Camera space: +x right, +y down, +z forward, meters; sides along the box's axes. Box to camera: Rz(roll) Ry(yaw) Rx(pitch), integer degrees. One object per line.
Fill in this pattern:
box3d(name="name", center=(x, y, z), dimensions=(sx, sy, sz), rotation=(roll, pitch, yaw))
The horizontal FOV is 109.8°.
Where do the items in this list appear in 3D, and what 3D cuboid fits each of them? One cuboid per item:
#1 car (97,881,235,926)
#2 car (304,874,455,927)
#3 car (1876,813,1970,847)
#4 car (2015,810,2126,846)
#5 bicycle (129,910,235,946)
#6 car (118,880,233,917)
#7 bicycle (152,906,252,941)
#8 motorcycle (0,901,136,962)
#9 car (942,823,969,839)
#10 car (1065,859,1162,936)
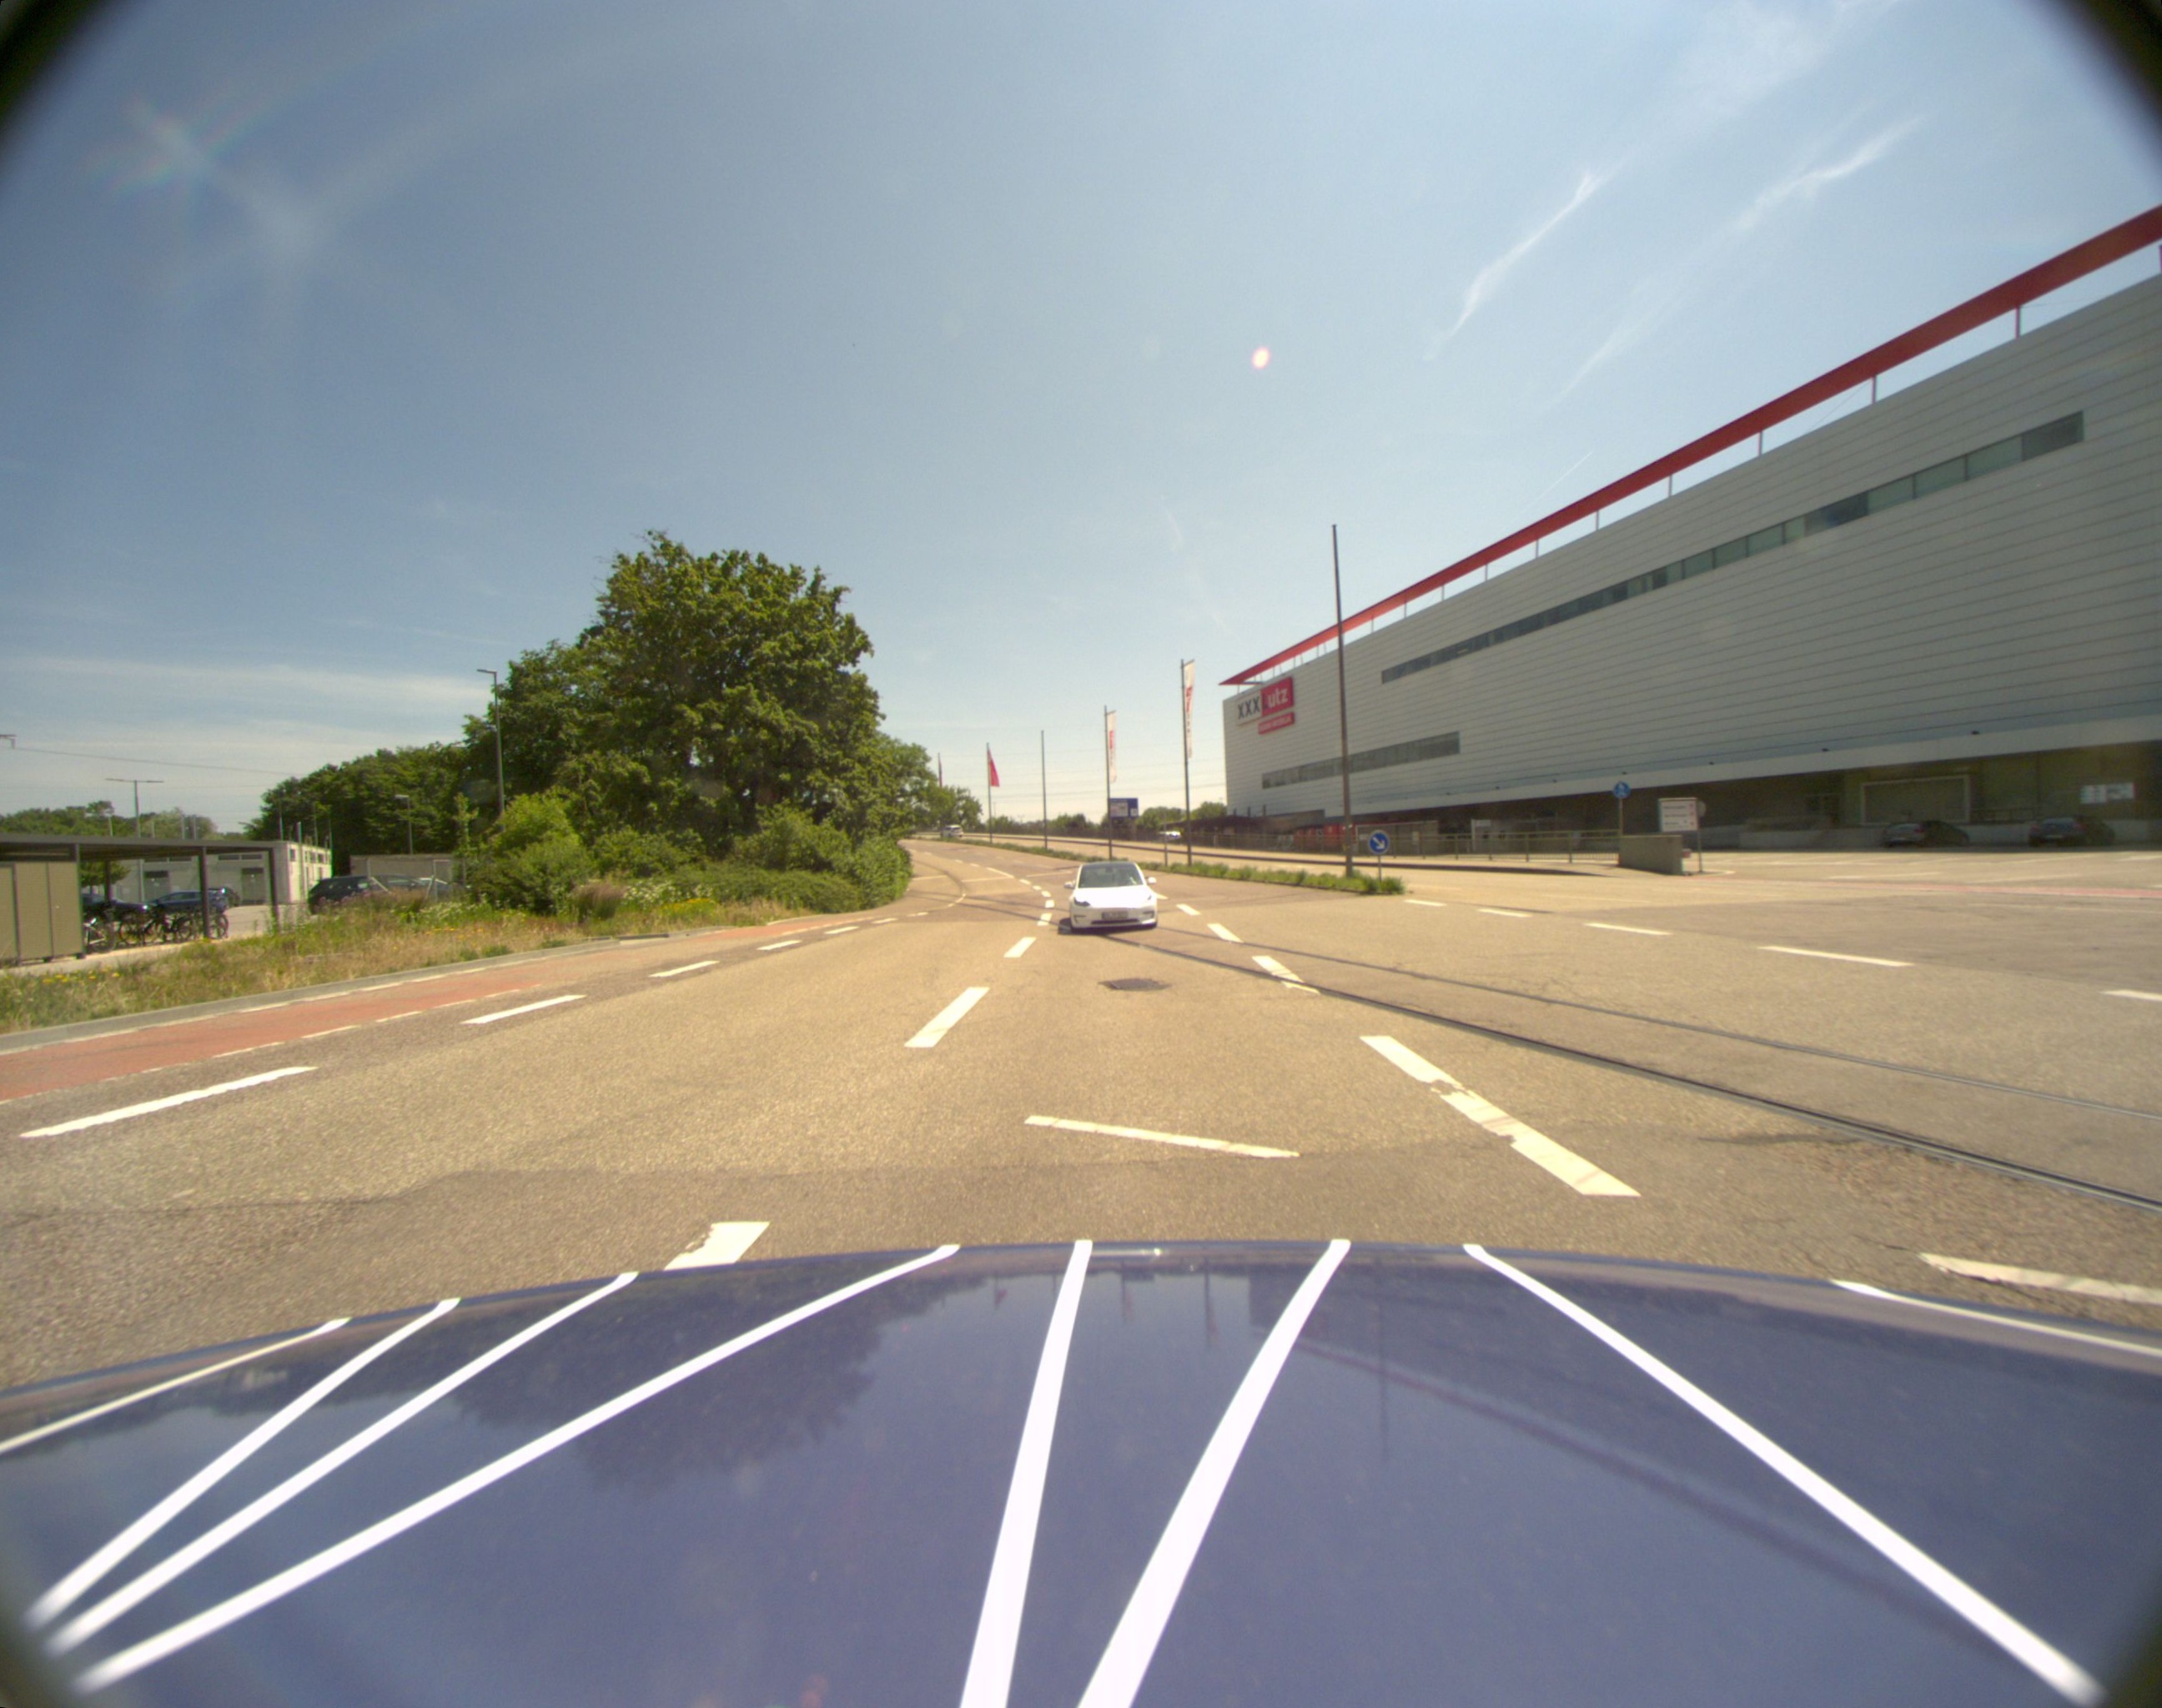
box3d(name="car", center=(-44.310, 2.334, 36.961), dimensions=(4.007, 1.805, 1.933), rotation=(-3, 1, -43))
box3d(name="car", center=(-26.195, 1.677, 28.579), dimensions=(4.007, 1.652, 1.833), rotation=(-3, 1, -41))
box3d(name="car", center=(44.265, -1.263, 39.974), dimensions=(3.752, 1.610, 1.909), rotation=(-2, 1, -17))
box3d(name="car", center=(45.813, -1.190, 35.194), dimensions=(3.487, 1.487, 1.956), rotation=(-2, 1, -16))
box3d(name="bicycle", center=(-25.744, 2.101, 21.795), dimensions=(1.885, 0.859, 0.589), rotation=(-2, 1, -18))
box3d(name="car", center=(-52.027, 2.520, 43.795), dimensions=(4.007, 1.827, 1.880), rotation=(-3, 1, -43))
box3d(name="bicycle", center=(-25.980, 2.034, 22.487), dimensions=(1.866, 0.859, 0.582), rotation=(-2, 1, -18))
box3d(name="motorcycle", center=(-24.753, 1.862, 18.413), dimensions=(2.113, 1.279, 0.850), rotation=(-2, 0, -24))
box3d(name="car", center=(-18.120, -3.336, 109.731), dimensions=(1.848, 2.129, 3.987), rotation=(-11, 9, -42))
box3d(name="car", center=(0.631, 0.898, 17.589), dimensions=(1.880, 1.416, 4.406), rotation=(-4, 0, -1))
